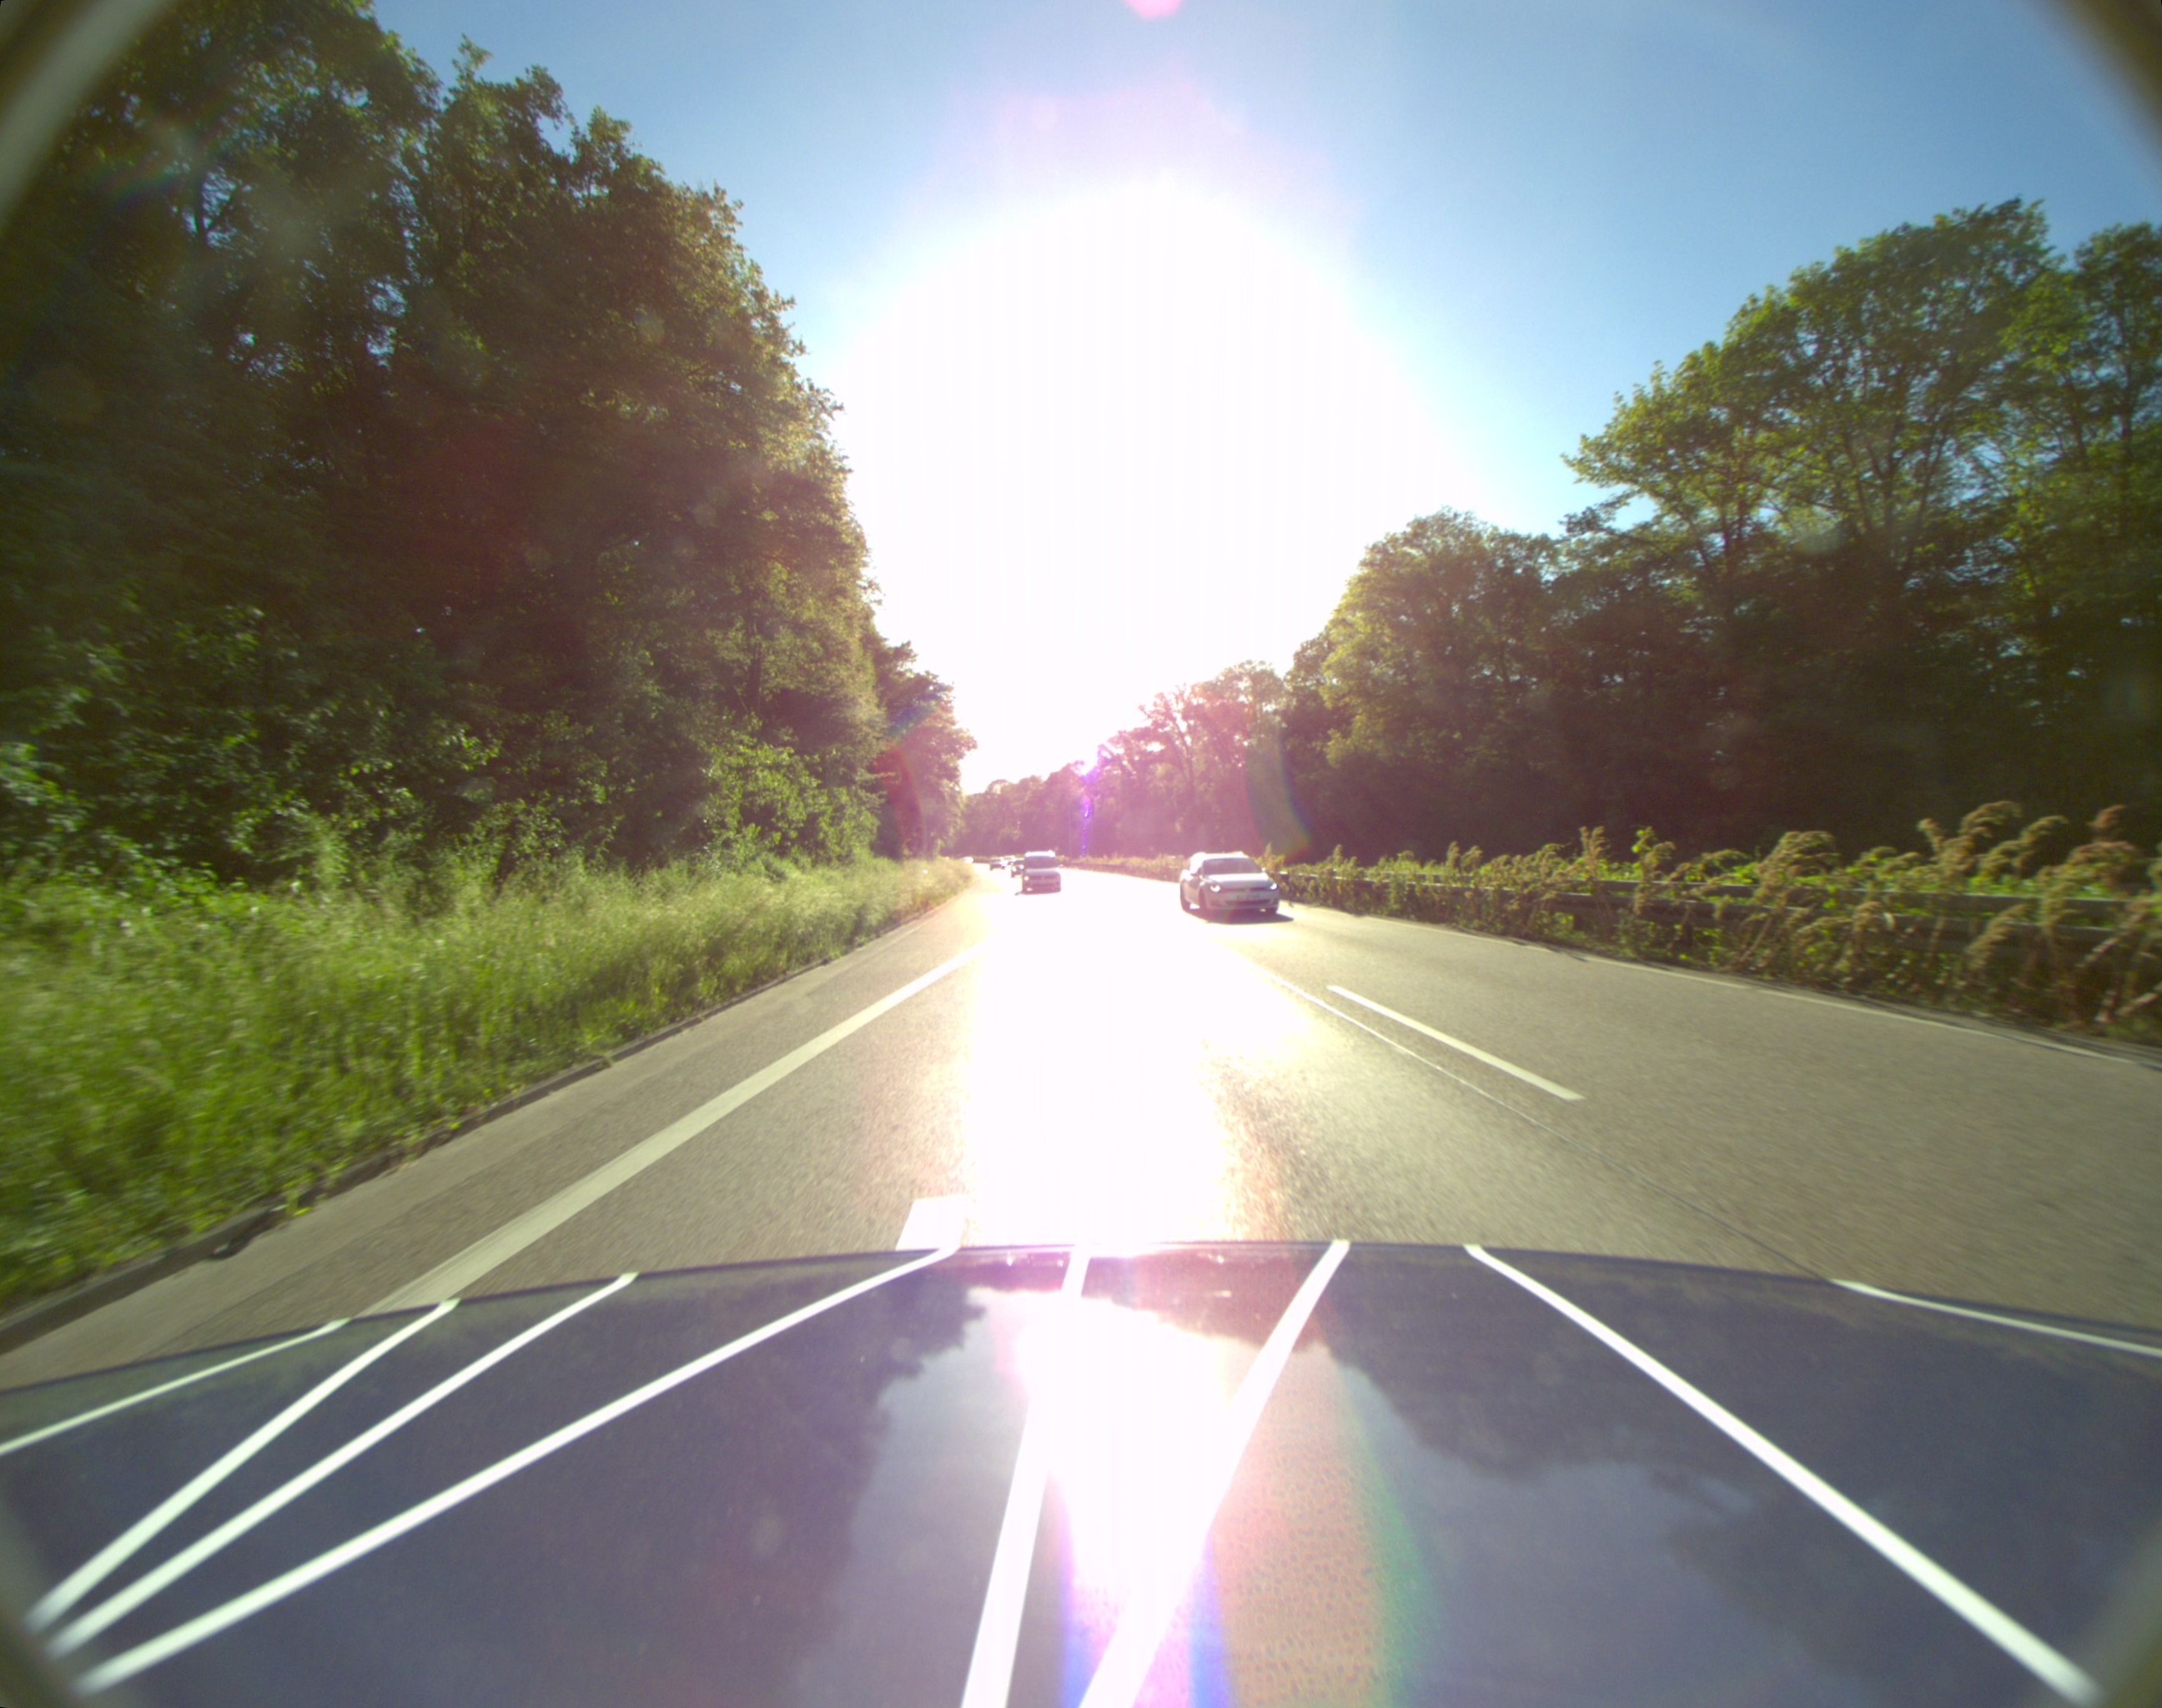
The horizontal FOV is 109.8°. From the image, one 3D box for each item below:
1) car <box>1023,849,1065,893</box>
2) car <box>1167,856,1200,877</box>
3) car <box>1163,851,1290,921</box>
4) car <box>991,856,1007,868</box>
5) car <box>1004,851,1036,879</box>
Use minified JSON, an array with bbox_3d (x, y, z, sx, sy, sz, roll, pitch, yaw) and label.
[{"bbox_3d":[-1.768,0.728,35.623,1.800,1.796,4.830,-2,1,-4],"label":"car"},{"bbox_3d":[10.418,1.247,77.637,2.053,2.002,4.758,-2,1,-7],"label":"car"},{"bbox_3d":[3.550,0.730,19.739,1.935,1.499,5.597,-2,0,-3],"label":"car"},{"bbox_3d":[-10.213,0.966,95.324,1.935,1.499,5.083,-1,0,-5],"label":"car"},{"bbox_3d":[-4.985,0.824,61.502,2.258,1.843,5.136,-2,3,-8],"label":"car"}]
